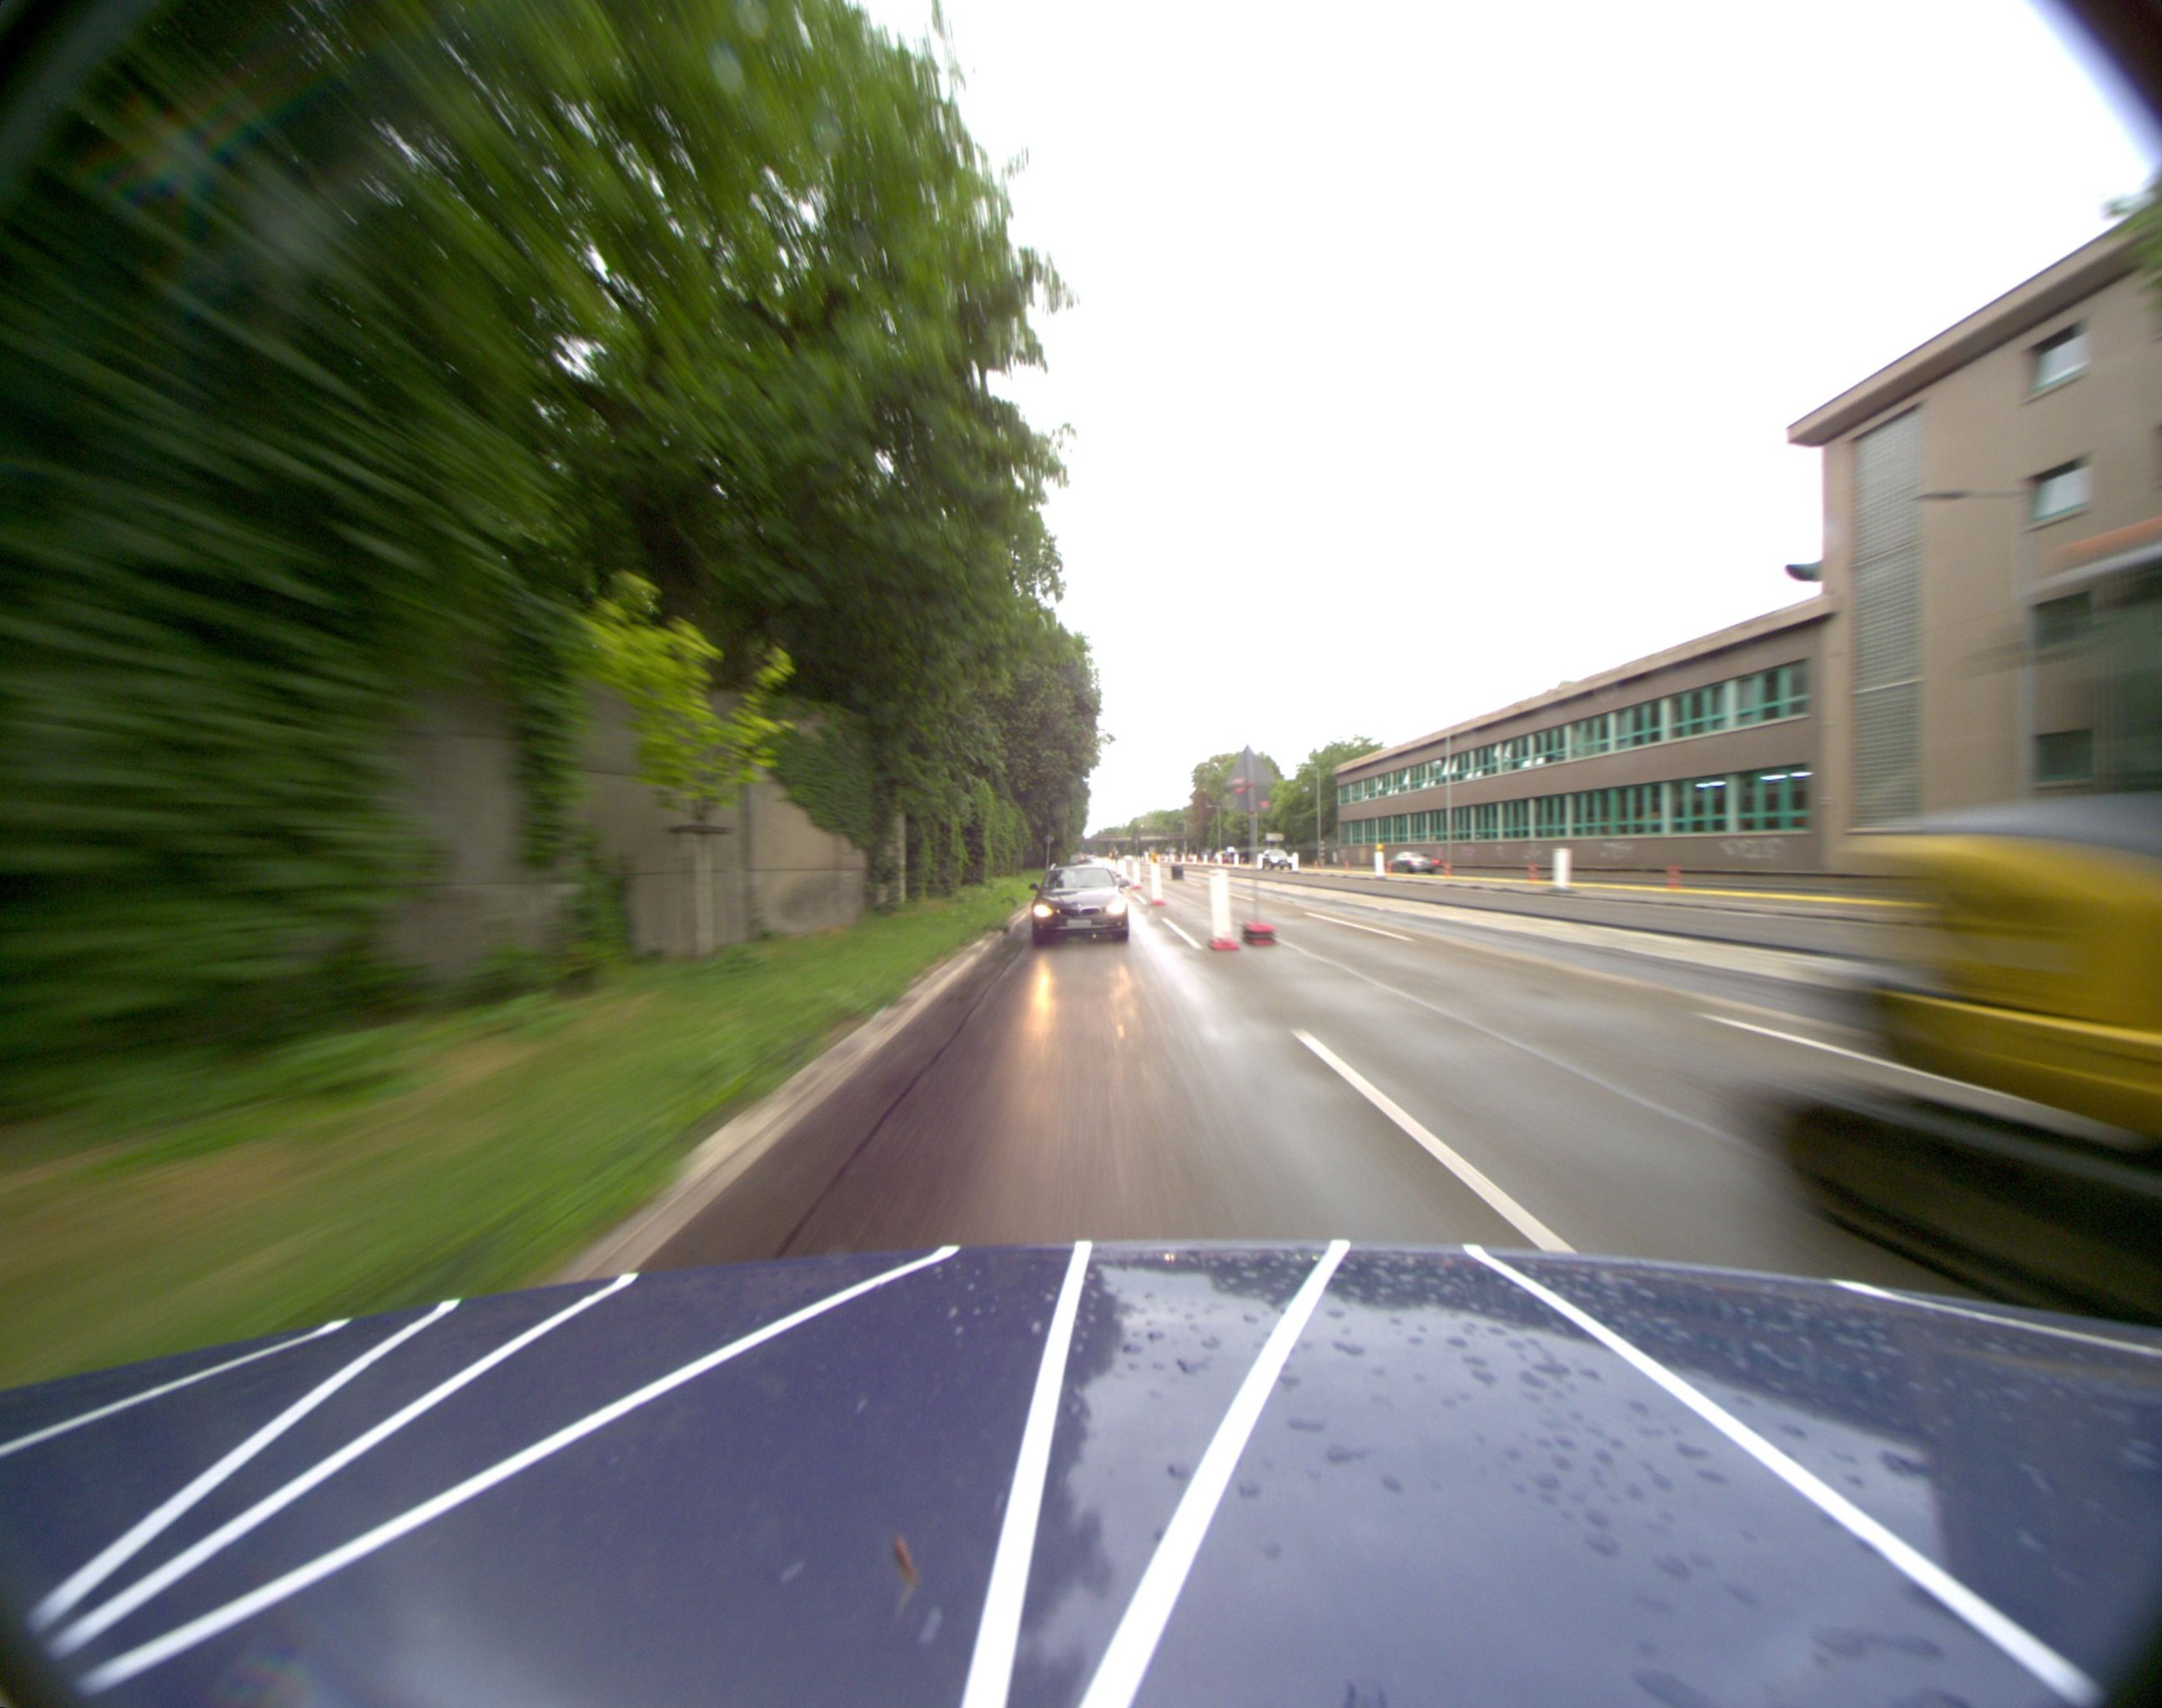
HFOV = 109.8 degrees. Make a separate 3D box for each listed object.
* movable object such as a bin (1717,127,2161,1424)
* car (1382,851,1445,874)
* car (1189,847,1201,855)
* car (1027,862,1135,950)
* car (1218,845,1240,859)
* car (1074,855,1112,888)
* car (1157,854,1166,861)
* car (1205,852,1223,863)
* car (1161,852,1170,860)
[{"bbox_3d":[3.760,-0.190,0.325,1.998,3.348,5.982,-2,1,1],"label":"movable object such as a bin"},{"bbox_3d":[21.461,0.497,49.263,1.998,1.340,4.791,-2,0,1],"label":"car"},{"bbox_3d":[24.307,-0.599,162.256,1.998,1.577,4.179,-2,0,1],"label":"car"},{"bbox_3d":[-0.019,0.920,15.201,1.838,1.397,3.999,-2,0,-1],"label":"car"},{"bbox_3d":[20.188,-0.263,103.883,1.998,1.770,4.954,-2,0,1],"label":"car"},{"bbox_3d":[0.668,0.916,42.236,1.998,1.650,4.229,-2,0,1],"label":"car"},{"bbox_3d":[19.016,0.882,179.158,1.808,1.525,3.991,-2,0,1],"label":"car"},{"bbox_3d":[21.914,0.521,125.415,1.942,1.696,4.935,-2,0,0],"label":"car"},{"bbox_3d":[21.612,0.508,194.612,1.993,1.758,4.675,-2,0,2],"label":"car"}]
